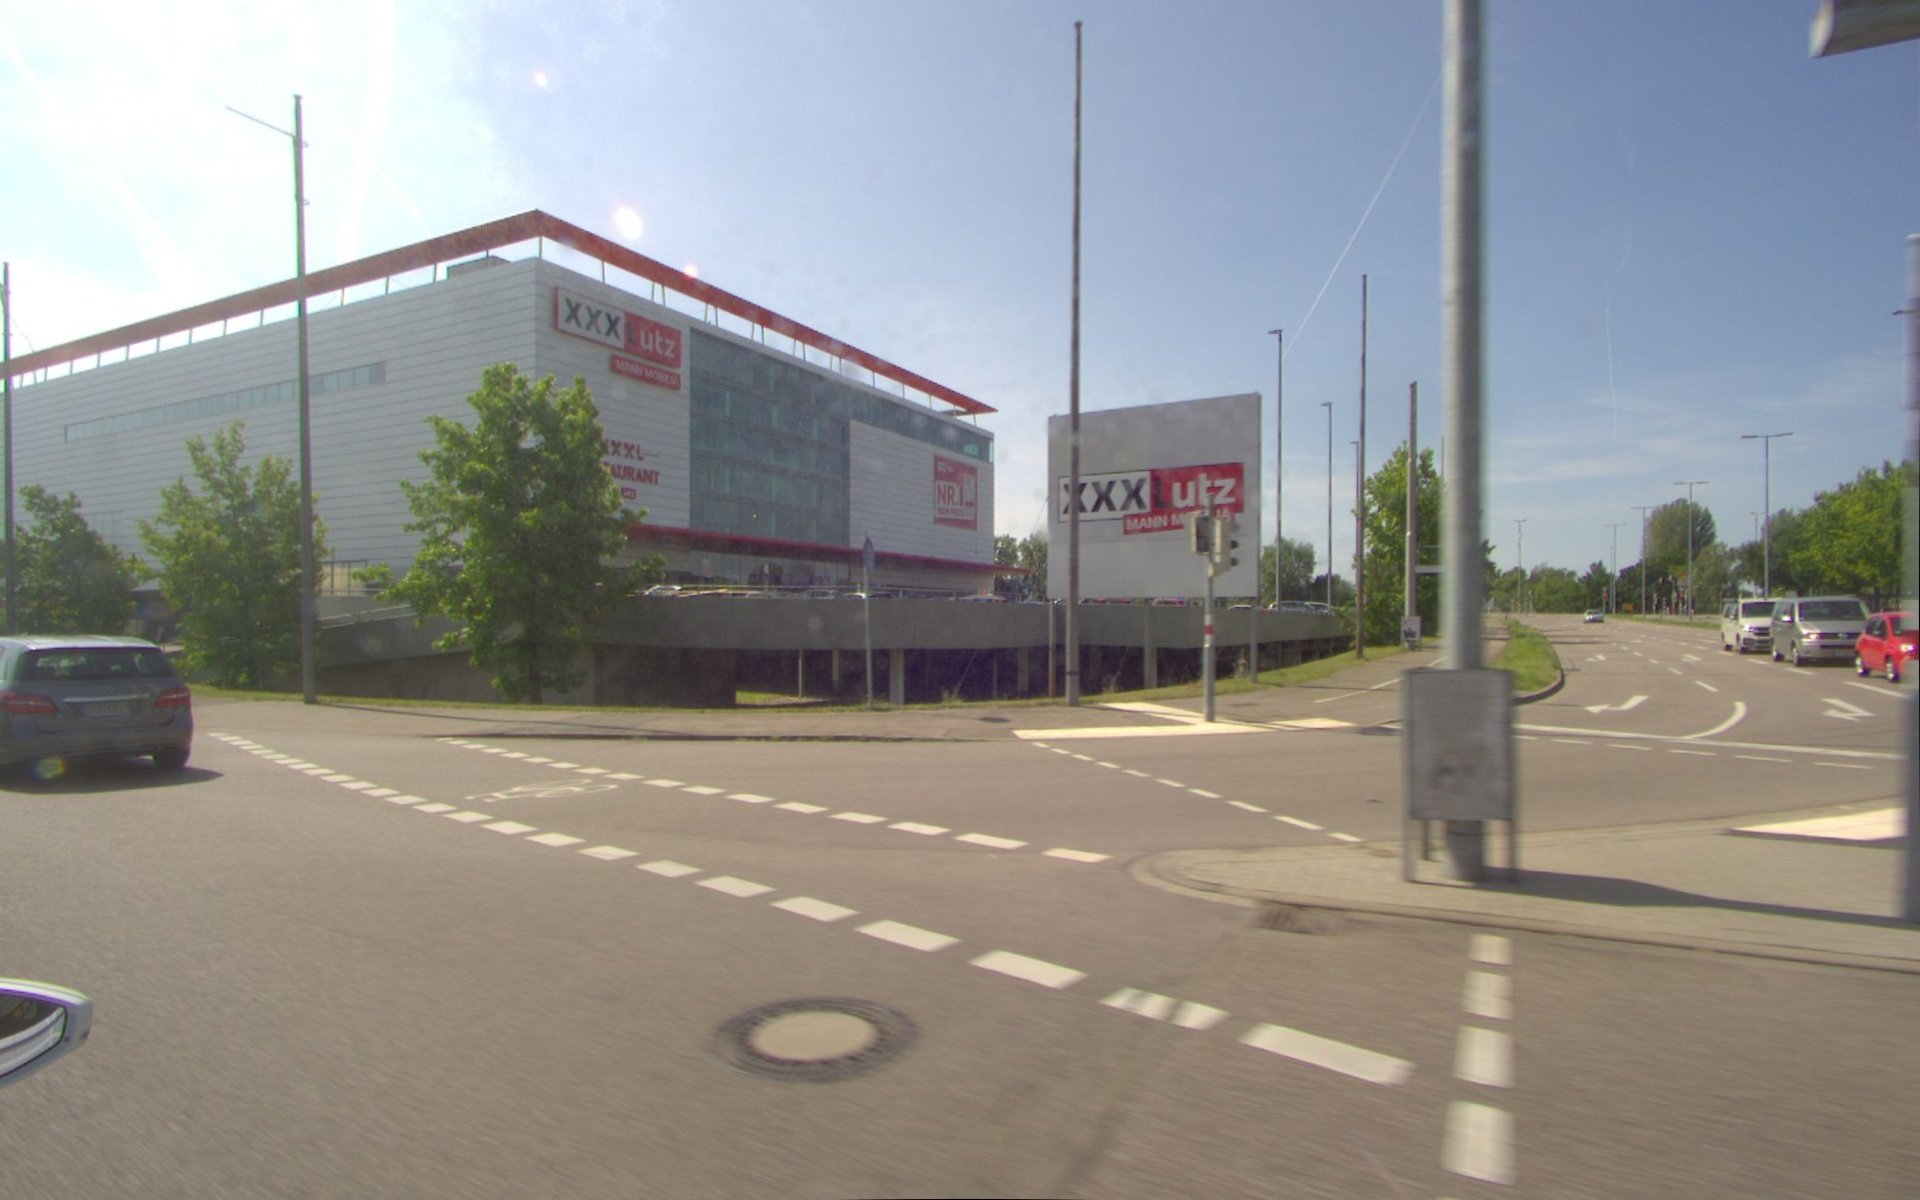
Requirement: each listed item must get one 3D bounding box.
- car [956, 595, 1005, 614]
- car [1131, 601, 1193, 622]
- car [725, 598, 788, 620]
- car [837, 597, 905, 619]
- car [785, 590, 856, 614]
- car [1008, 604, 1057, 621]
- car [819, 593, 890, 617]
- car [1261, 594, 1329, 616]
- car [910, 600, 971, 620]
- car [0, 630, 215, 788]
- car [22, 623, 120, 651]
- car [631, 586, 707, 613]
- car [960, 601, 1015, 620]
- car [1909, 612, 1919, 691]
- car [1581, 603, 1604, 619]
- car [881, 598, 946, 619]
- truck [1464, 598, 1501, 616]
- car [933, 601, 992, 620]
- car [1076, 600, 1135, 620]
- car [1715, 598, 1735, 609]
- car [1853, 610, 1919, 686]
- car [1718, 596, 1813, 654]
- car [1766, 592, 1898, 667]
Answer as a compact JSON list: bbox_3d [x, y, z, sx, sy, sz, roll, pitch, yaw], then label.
[{"bbox_3d":[1.873,0.397,91.084,4.136,1.641,1.683,-1,-1,29],"label":"car"},{"bbox_3d":[14.362,0.835,71.254,4.044,1.438,1.787,0,-1,27],"label":"car"},{"bbox_3d":[-13.414,0.625,66.055,3.851,1.438,1.685,0,-1,24],"label":"car"},{"bbox_3d":[-5.833,0.541,65.385,4.136,1.438,1.870,-1,-1,29],"label":"car"},{"bbox_3d":[-8.462,0.140,60.510,3.944,1.438,1.799,0,-1,26],"label":"car"},{"bbox_3d":[6.389,1.118,88.472,4.046,1.438,1.683,-1,-1,29],"label":"car"},{"bbox_3d":[-6.583,0.331,62.618,4.136,1.438,1.830,-1,-1,29],"label":"car"},{"bbox_3d":[22.783,0.329,68.130,4.136,1.438,1.683,-1,-1,29],"label":"car"},{"bbox_3d":[-1.462,0.725,73.639,4.135,1.438,1.803,-1,-1,29],"label":"car"},{"bbox_3d":[-10.628,1.137,11.799,4.082,1.558,1.769,-1,-2,35],"label":"car"},{"bbox_3d":[-57.987,2.404,65.425,1.808,1.635,4.420,0,1,26],"label":"car"},{"bbox_3d":[-16.384,-0.030,56.334,4.136,1.438,1.769,-1,-1,29],"label":"car"},{"bbox_3d":[2.196,0.868,80.346,4.136,1.438,1.788,-1,-1,29],"label":"car"},{"bbox_3d":[18.789,0.973,17.732,1.880,1.528,4.024,-2,-1,29],"label":"car"},{"bbox_3d":[70.314,1.234,111.382,1.855,1.706,3.983,-1,0,27],"label":"car"},{"bbox_3d":[-3.258,0.603,69.594,4.136,1.438,1.899,-1,-1,29],"label":"car"},{"bbox_3d":[94.824,1.261,181.853,5.882,3.064,1.995,-1,-4,26],"label":"truck"},{"bbox_3d":[0.169,0.804,75.648,4.136,1.438,1.734,-1,-1,29],"label":"car"},{"bbox_3d":[10.971,0.750,75.652,4.136,1.438,1.683,-1,-1,29],"label":"car"},{"bbox_3d":[105.226,0.492,137.694,1.616,1.555,3.900,0,-1,29],"label":"car"},{"bbox_3d":[21.575,1.051,22.507,1.575,1.596,3.465,0,-1,30],"label":"car"},{"bbox_3d":[29.318,0.929,36.604,1.886,1.960,4.770,-2,-2,29],"label":"car"},{"bbox_3d":[25.234,0.849,29.166,1.934,2.001,4.669,-2,-2,30],"label":"car"}]
